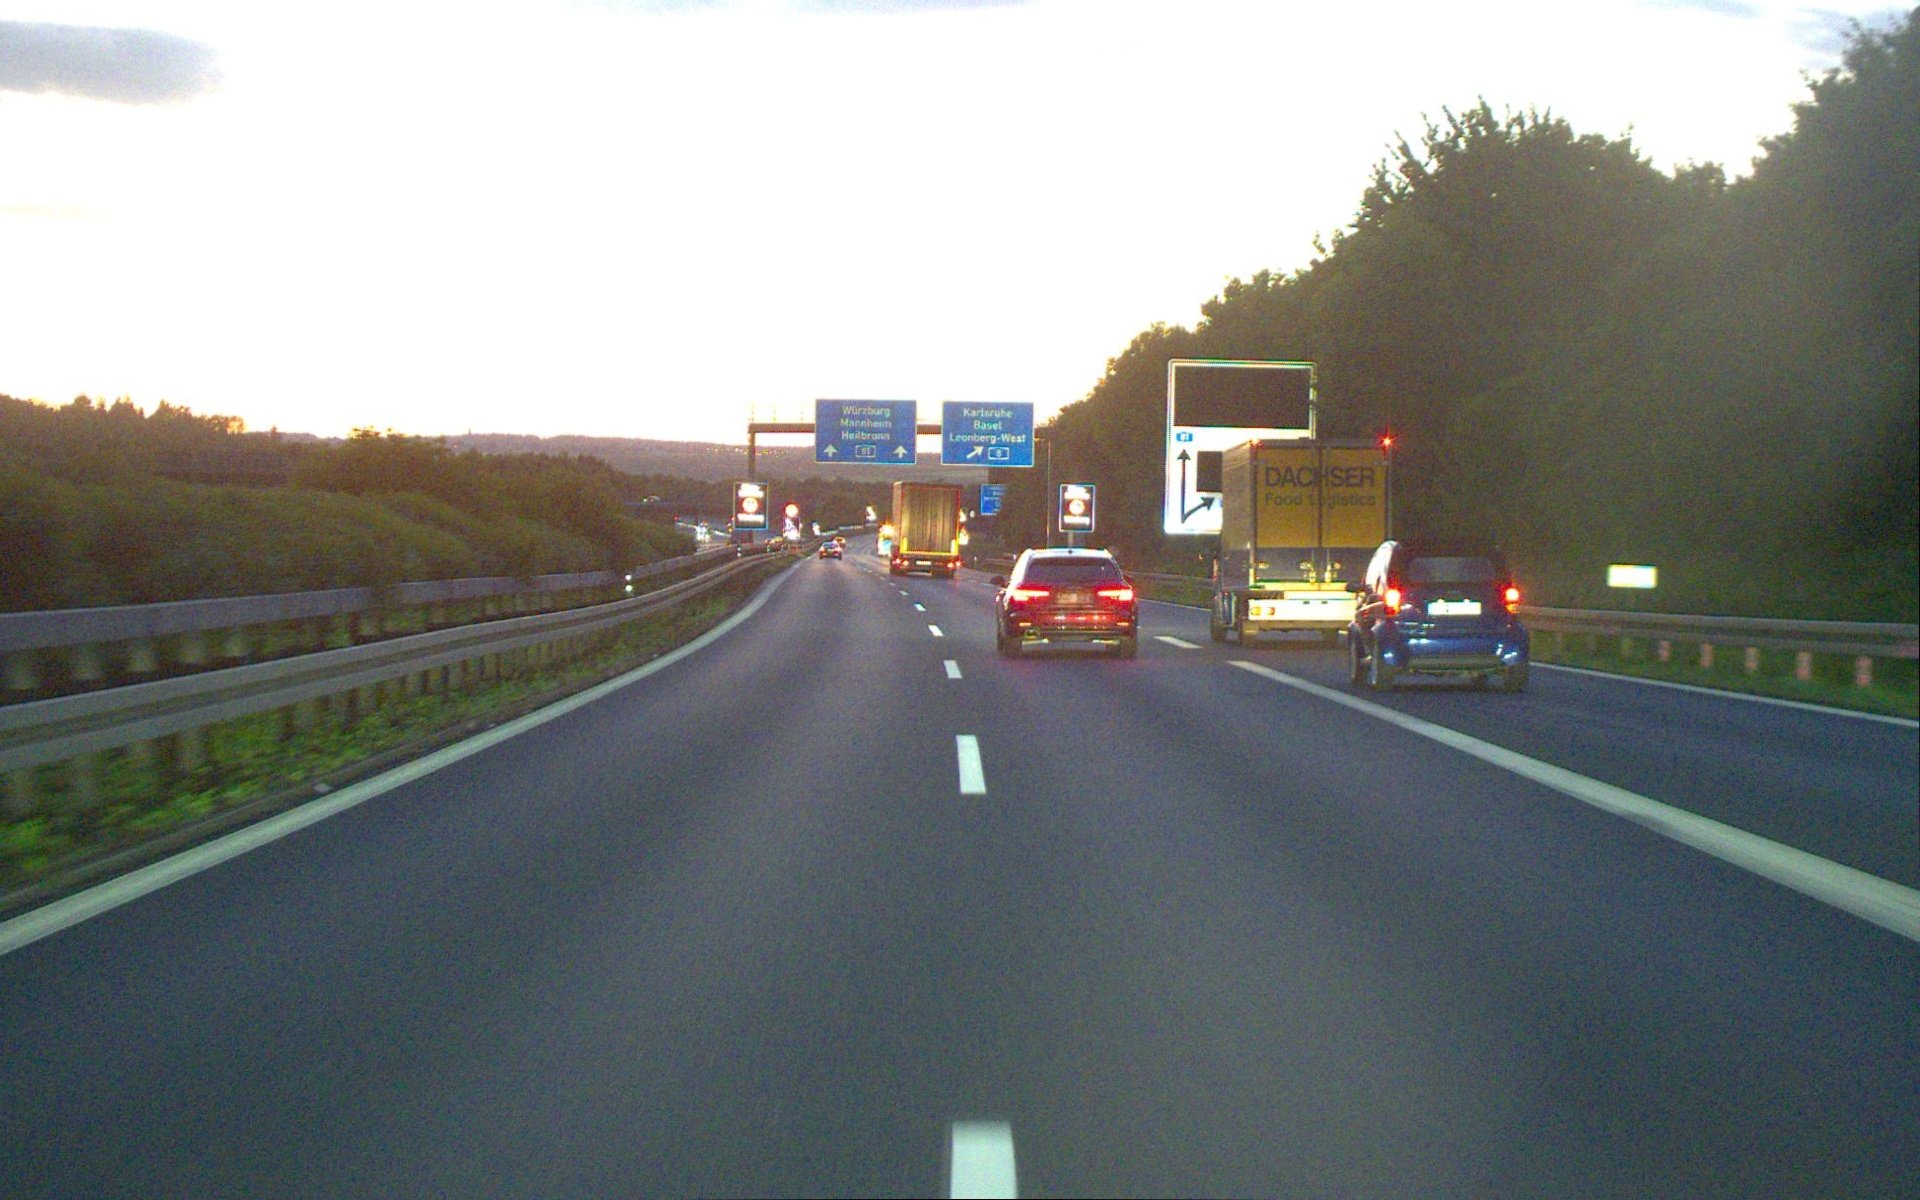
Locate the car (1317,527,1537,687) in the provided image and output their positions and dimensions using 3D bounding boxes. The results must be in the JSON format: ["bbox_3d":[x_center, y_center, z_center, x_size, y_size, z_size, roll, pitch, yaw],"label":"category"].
[{"bbox_3d":[4.753,0.056,35.381,1.610,1.550,3.319,1,1,-3],"label":"car"}]

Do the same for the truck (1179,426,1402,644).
[{"bbox_3d":[4.889,-0.976,51.964,2.268,2.961,6.632,3,1,-3],"label":"truck"}]

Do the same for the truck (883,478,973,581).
[{"bbox_3d":[-1.451,-3.010,149.572,3.509,4.286,9.892,1,1,-3],"label":"truck"}]

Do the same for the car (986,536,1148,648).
[{"bbox_3d":[1.421,-0.120,46.956,1.915,1.437,4.000,1,1,-2],"label":"car"}]
